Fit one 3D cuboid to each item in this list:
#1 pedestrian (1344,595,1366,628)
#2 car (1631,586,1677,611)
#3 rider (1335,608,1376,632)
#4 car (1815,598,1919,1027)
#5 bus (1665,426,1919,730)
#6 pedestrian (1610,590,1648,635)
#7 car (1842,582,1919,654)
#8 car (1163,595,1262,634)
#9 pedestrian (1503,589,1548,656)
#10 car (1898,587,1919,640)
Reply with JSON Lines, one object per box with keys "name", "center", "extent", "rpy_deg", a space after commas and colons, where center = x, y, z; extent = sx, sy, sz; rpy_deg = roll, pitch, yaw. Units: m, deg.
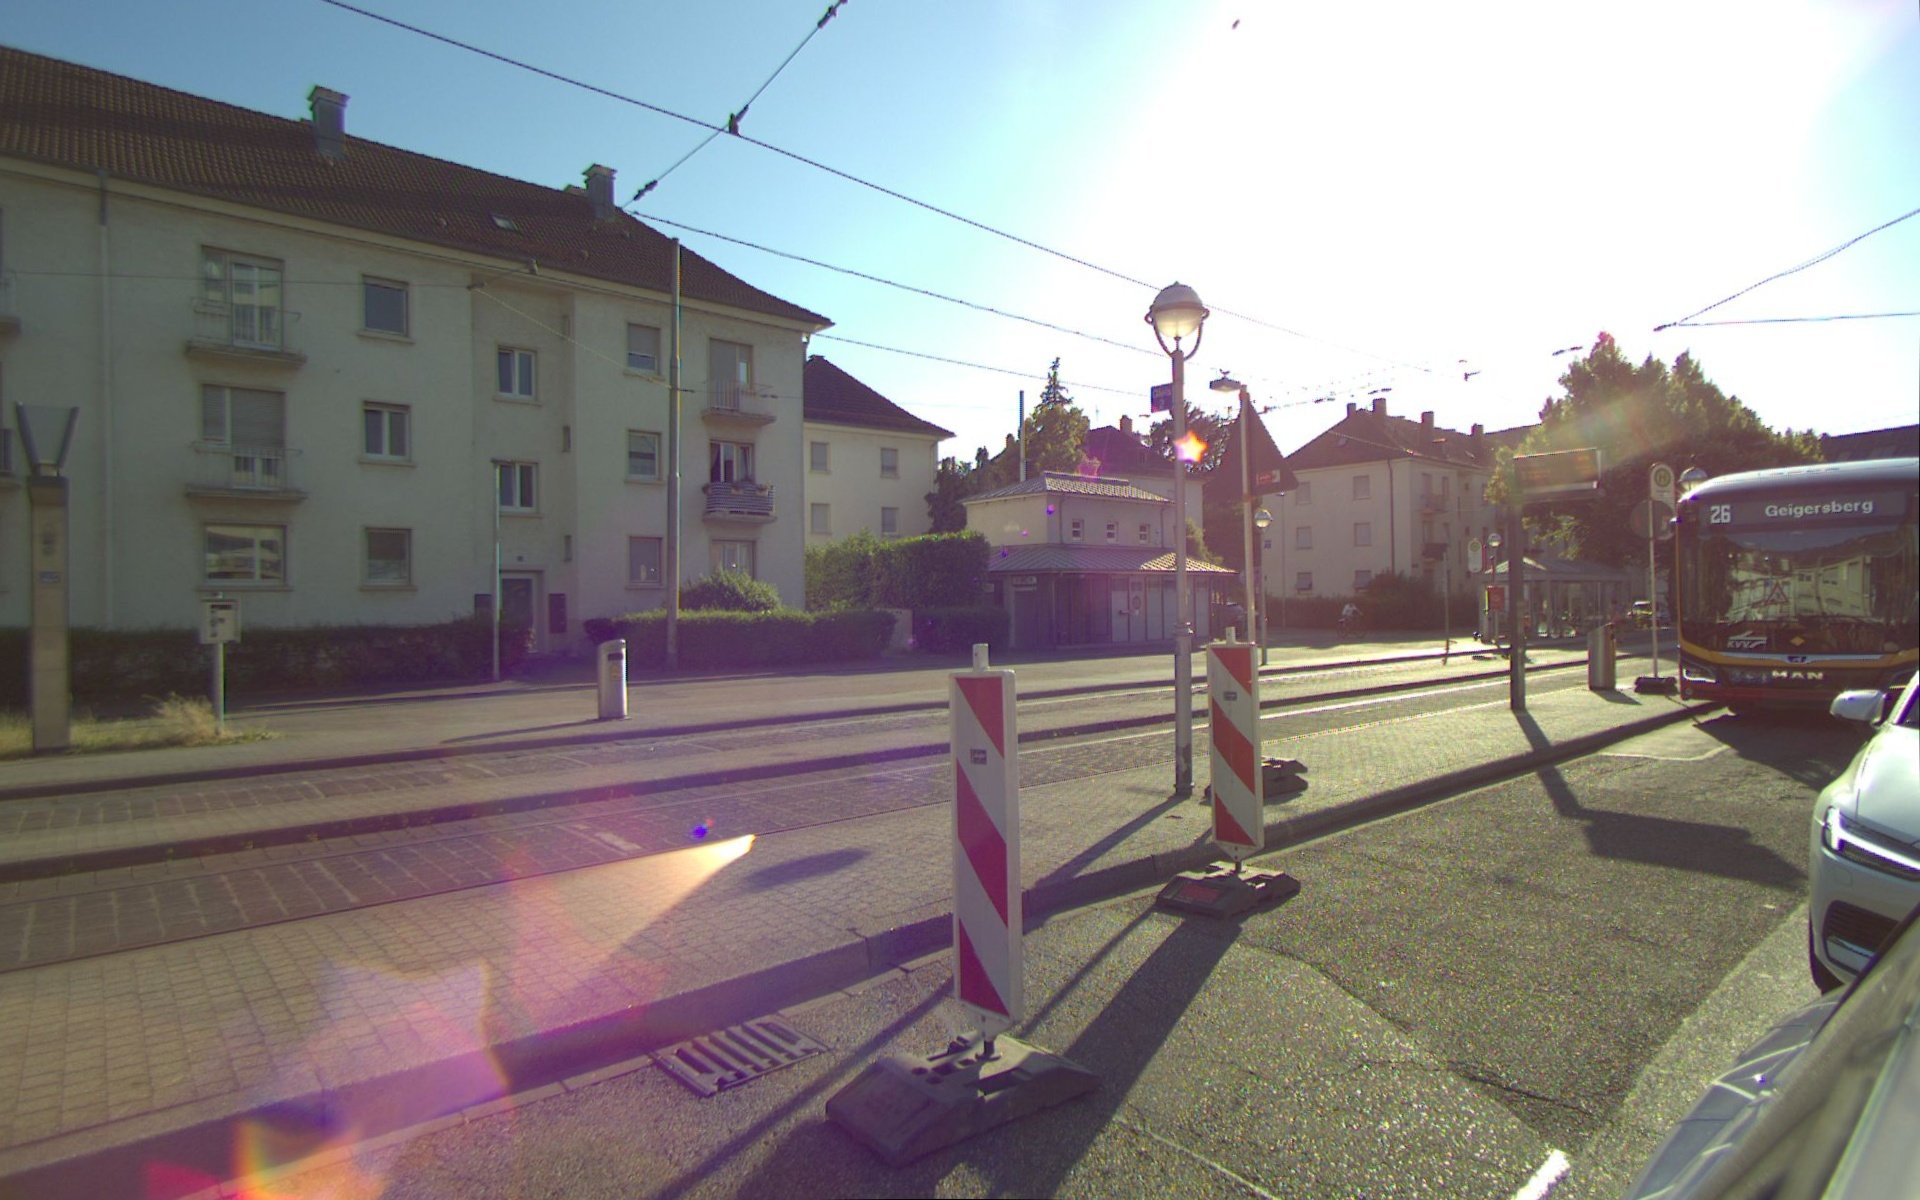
{"name": "pedestrian", "center": [16.971, 0.494, 43.466], "extent": [0.568, 1.398, 0.660], "rpy_deg": [0, 0, -19]}
{"name": "car", "center": [53.786, -0.110, 78.442], "extent": [3.930, 1.887, 1.997], "rpy_deg": [-1, 0, -41]}
{"name": "rider", "center": [16.975, 0.841, 43.477], "extent": [0.568, 1.004, 1.861], "rpy_deg": [0, 0, -19]}
{"name": "car", "center": [5.281, 0.731, 4.365], "extent": [4.143, 1.472, 1.819], "rpy_deg": [0, 0, -41]}
{"name": "bus", "center": [14.325, -0.264, 15.853], "extent": [11.824, 3.345, 2.745], "rpy_deg": [0, 0, -42]}
{"name": "pedestrian", "center": [24.691, 0.450, 37.379], "extent": [0.808, 1.631, 0.844], "rpy_deg": [0, 0, -12]}
{"name": "car", "center": [21.233, 0.359, 22.371], "extent": [4.740, 1.477, 1.968], "rpy_deg": [0, 0, -41]}
{"name": "car", "center": [11.593, 0.682, 46.675], "extent": [1.964, 1.694, 4.050], "rpy_deg": [-1, -1, -39]}
{"name": "pedestrian", "center": [15.108, 0.581, 27.037], "extent": [0.811, 1.740, 0.841], "rpy_deg": [0, 0, -42]}
{"name": "car", "center": [28.793, 0.368, 29.237], "extent": [4.740, 1.477, 1.968], "rpy_deg": [0, 0, -41]}
